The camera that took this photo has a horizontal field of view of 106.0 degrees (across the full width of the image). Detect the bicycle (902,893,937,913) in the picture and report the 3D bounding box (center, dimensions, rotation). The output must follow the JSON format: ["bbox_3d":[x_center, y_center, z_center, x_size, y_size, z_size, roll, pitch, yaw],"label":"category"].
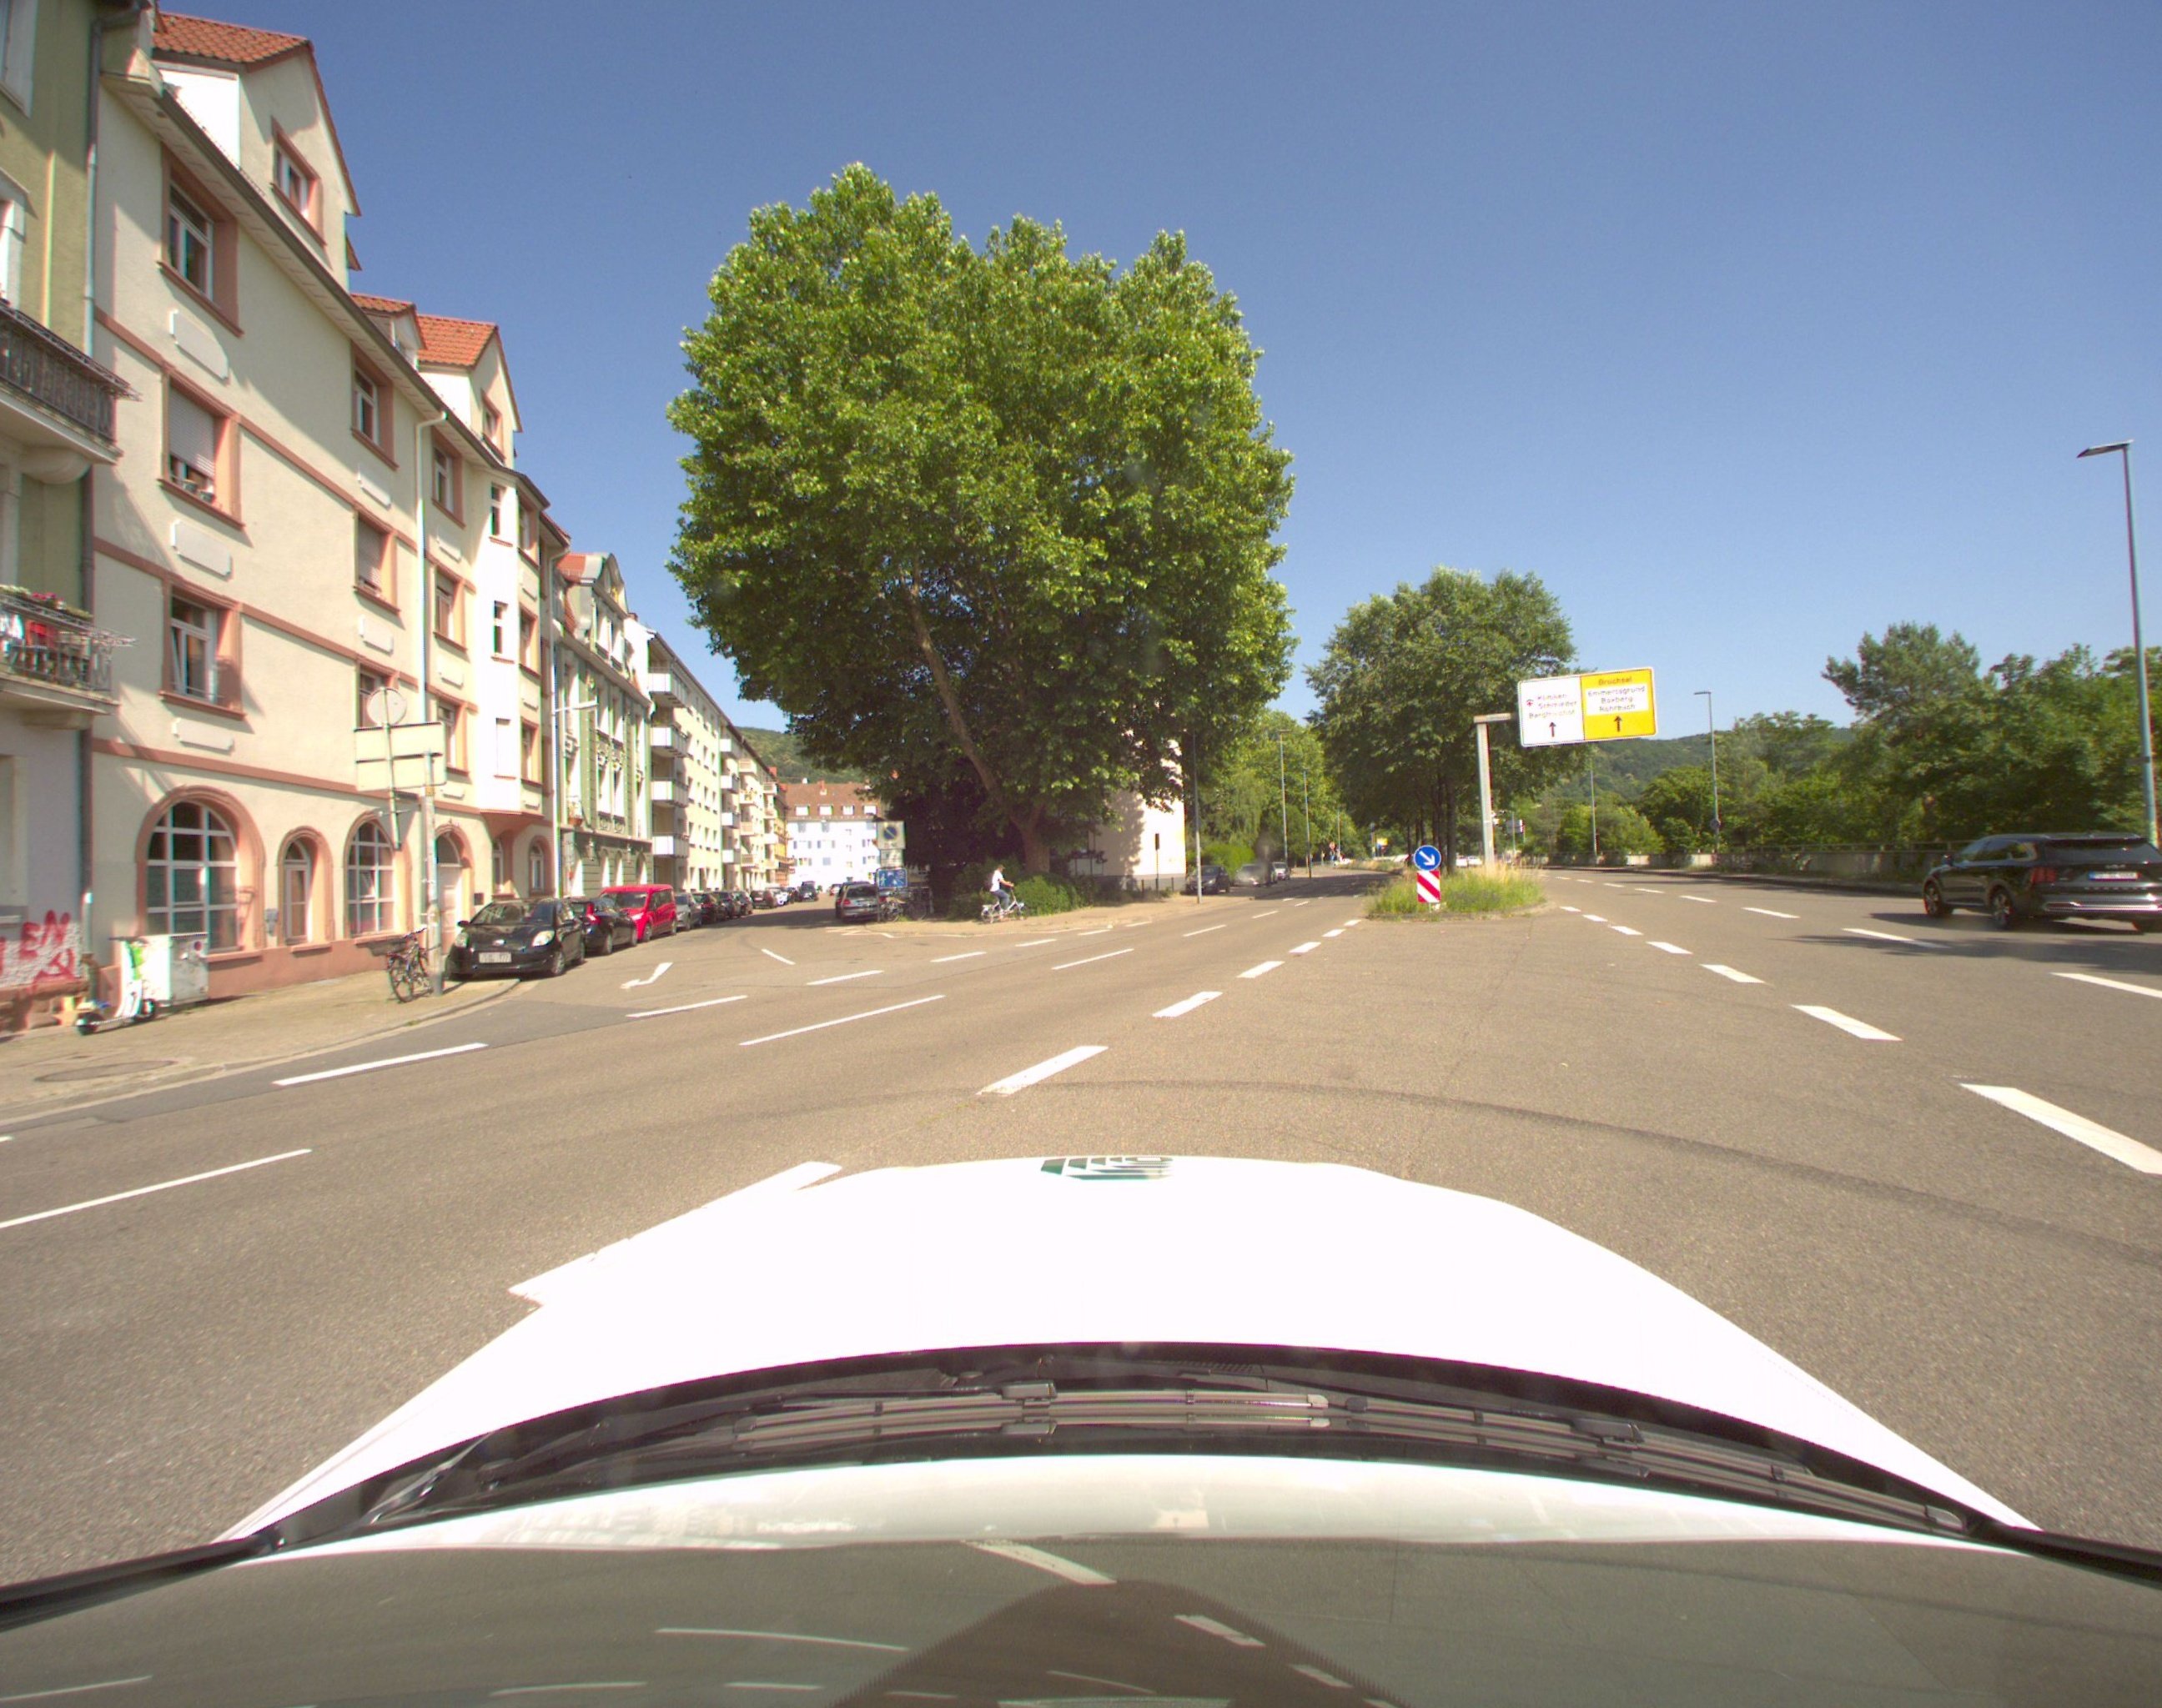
[{"bbox_3d":[-7.058,2.152,35.589,1.505,0.834,0.381,0,-1,-18],"label":"bicycle"}]

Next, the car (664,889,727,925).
[{"bbox_3d":[-17.862,2.430,37.914,1.865,1.486,3.981,-2,-2,-14],"label":"car"}]

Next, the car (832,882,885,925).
[{"bbox_3d":[-8.502,1.860,31.279,1.807,1.451,3.775,-2,-1,-14],"label":"car"}]

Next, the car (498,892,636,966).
[{"bbox_3d":[-13.072,1.833,21.012,1.987,1.543,4.039,-3,-1,-17],"label":"car"}]

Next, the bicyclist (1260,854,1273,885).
[{"bbox_3d":[11.396,0.941,50.073,0.641,1.894,0.842,-3,-2,15],"label":"bicyclist"}]

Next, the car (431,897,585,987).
[{"bbox_3d":[-11.342,1.650,16.405,1.829,1.447,3.737,-2,-1,-24],"label":"car"}]

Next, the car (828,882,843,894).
[{"bbox_3d":[-33.140,4.540,109.972,1.751,1.481,3.761,-2,-1,-14],"label":"car"}]

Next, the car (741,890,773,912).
[{"bbox_3d":[-24.009,3.448,60.506,1.868,1.486,3.839,-2,-1,-17],"label":"car"}]

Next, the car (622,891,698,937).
[{"bbox_3d":[-16.035,2.241,31.216,1.867,1.486,3.977,-2,-1,-17],"label":"car"}]

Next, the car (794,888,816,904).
[{"bbox_3d":[-27.562,4.152,81.461,1.751,1.461,3.761,-2,-1,-14],"label":"car"}]

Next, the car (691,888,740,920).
[{"bbox_3d":[-19.105,2.601,42.715,1.868,1.486,3.976,-2,-1,-17],"label":"car"}]

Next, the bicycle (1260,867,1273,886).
[{"bbox_3d":[11.402,1.385,50.067,0.654,1.122,1.810,-3,-1,14],"label":"bicycle"}]

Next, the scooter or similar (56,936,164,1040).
[{"bbox_3d":[-12.300,1.657,10.357,0.275,1.128,1.436,0,-2,-25],"label":"scooter or similar"}]

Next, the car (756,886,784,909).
[{"bbox_3d":[-25.543,3.530,67.052,1.868,1.722,3.839,-2,-1,-17],"label":"car"}]

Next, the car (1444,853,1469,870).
[{"bbox_3d":[43.403,0.859,94.150,1.978,1.891,4.016,-3,-1,16],"label":"car"}]

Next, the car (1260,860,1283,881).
[{"bbox_3d":[16.644,1.439,71.024,1.756,1.680,4.016,-3,-1,16],"label":"car"}]

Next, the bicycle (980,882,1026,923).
[{"bbox_3d":[-2.448,1.516,25.561,1.287,1.189,0.550,-2,-2,-20],"label":"bicycle"}]

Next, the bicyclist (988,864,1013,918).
[{"bbox_3d":[-2.526,1.149,25.552,0.590,1.633,0.537,-2,-2,-21],"label":"bicyclist"}]

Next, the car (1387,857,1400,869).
[{"bbox_3d":[49.184,1.395,128.198,1.617,1.812,3.607,-3,-1,15],"label":"car"}]

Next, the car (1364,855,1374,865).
[{"bbox_3d":[55.024,1.134,155.605,1.617,1.812,3.607,-3,-1,15],"label":"car"}]

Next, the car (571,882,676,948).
[{"bbox_3d":[-14.452,1.855,25.980,1.869,1.841,4.204,-2,-1,-15],"label":"car"}]

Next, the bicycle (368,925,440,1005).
[{"bbox_3d":[-10.504,1.683,12.685,0.629,1.034,1.863,-1,-2,-33],"label":"bicycle"}]

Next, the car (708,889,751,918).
[{"bbox_3d":[-20.542,2.852,47.681,1.868,1.486,3.976,-2,-1,-17],"label":"car"}]

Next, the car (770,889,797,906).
[{"bbox_3d":[-28.033,4.076,76.948,1.997,1.478,3.979,-2,-1,-15],"label":"car"}]

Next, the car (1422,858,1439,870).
[{"bbox_3d":[47.644,1.354,111.098,1.617,1.495,3.696,-3,-1,16],"label":"car"}]

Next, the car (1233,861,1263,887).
[{"bbox_3d":[11.017,1.279,53.524,1.629,1.574,4.016,-3,-1,15],"label":"car"}]

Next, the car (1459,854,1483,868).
[{"bbox_3d":[49.159,0.888,102.629,1.978,1.677,4.017,-3,-1,16],"label":"car"}]

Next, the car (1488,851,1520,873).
[{"bbox_3d":[39.118,0.714,75.420,1.977,1.891,4.019,-3,-1,19],"label":"car"}]

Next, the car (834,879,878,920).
[{"bbox_3d":[-10.021,1.972,36.427,1.751,1.657,3.761,-2,-1,-14],"label":"car"}]

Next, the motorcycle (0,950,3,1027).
[{"bbox_3d":[-12.314,1.614,8.515,0.428,1.094,1.442,0,-2,-15],"label":"motorcycle"}]

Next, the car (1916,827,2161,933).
[{"bbox_3d":[17.489,0.422,14.900,1.899,1.664,4.338,-2,-1,29],"label":"car"}]

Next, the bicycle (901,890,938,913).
[{"bbox_3d":[-7.253,2.135,36.566,1.574,0.993,0.454,0,-1,-18],"label":"bicycle"}]

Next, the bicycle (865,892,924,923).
[{"bbox_3d":[-6.607,1.879,28.840,1.899,0.984,0.967,-2,-1,-20],"label":"bicycle"}]

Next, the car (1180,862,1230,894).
[{"bbox_3d":[6.551,1.233,42.724,1.772,1.512,3.913,-3,-1,20],"label":"car"}]
